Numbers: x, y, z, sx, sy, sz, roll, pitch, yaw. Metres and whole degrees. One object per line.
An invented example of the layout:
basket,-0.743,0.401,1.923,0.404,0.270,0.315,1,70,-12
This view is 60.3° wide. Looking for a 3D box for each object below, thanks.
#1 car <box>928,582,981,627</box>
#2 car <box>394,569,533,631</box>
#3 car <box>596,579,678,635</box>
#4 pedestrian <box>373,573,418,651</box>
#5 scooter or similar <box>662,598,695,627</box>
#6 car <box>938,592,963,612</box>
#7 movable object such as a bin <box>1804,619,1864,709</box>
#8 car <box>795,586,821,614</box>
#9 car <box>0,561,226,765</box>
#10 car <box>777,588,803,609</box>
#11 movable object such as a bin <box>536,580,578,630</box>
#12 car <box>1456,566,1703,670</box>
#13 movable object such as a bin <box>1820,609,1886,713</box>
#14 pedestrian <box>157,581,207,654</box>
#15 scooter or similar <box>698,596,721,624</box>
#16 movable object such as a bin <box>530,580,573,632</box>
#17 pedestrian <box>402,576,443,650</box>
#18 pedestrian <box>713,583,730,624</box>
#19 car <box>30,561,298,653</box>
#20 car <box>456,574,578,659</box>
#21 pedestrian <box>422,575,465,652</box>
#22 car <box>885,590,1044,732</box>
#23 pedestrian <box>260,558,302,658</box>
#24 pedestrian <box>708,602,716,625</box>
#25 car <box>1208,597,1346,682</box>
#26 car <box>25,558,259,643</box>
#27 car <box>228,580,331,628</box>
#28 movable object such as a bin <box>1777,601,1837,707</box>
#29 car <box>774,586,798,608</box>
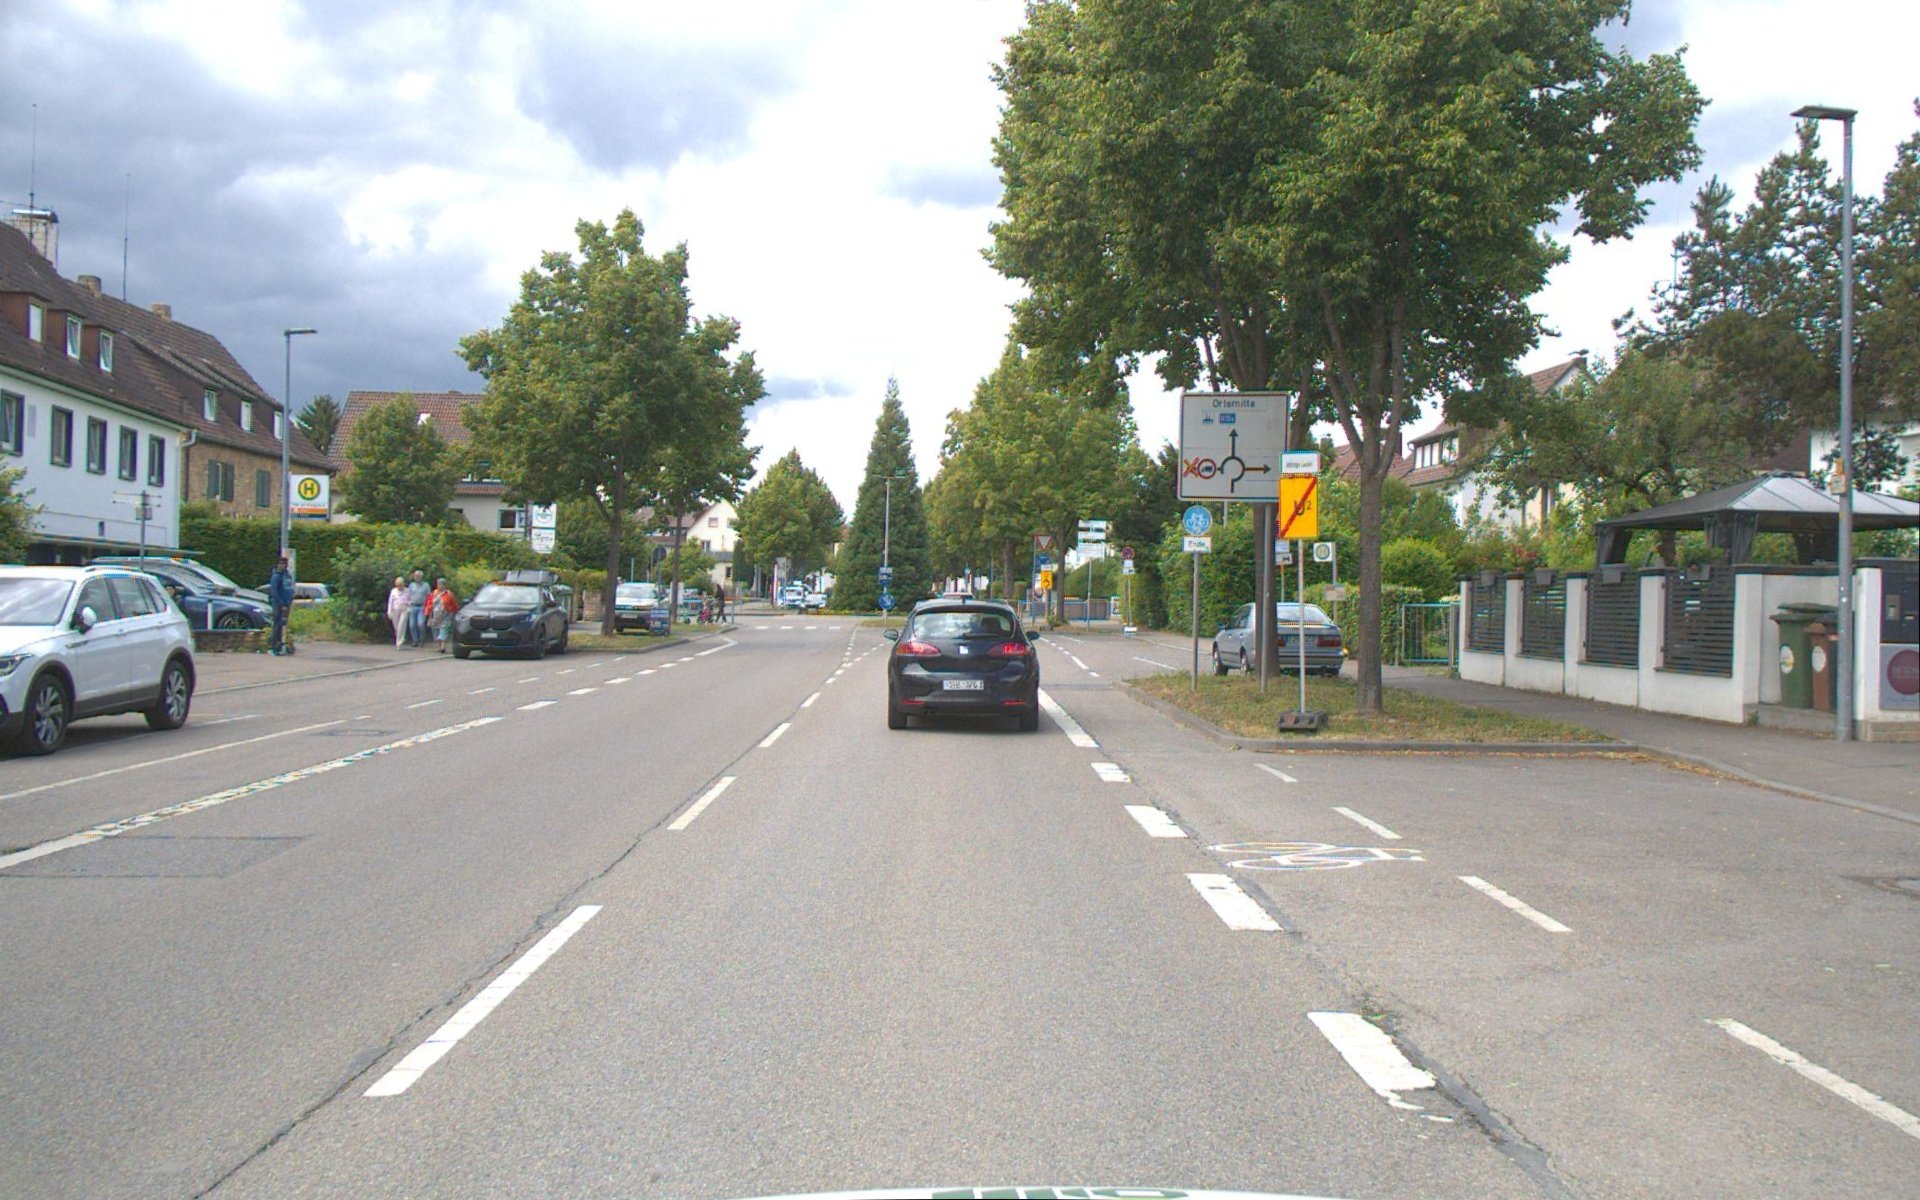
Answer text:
car,-0.226,0.175,64.003,1.953,1.641,3.999,1,0,-1
car,-16.068,0.005,53.675,3.906,1.924,1.999,1,0,-2
car,-10.420,0.210,53.590,1.823,1.682,4.293,1,0,-1
pedestrian,-12.521,0.260,36.689,0.772,1.692,0.880,1,0,-8
scooter or similar,-11.243,0.484,66.037,1.272,1.158,0.343,0,0,-33
car,-0.775,0.156,133.463,1.448,1.515,3.372,1,0,-11
movable object such as a bin,9.245,0.676,17.510,0.427,0.936,0.395,0,0,0
car,-9.380,0.008,102.076,1.537,1.663,3.618,1,0,-4
car,-8.769,0.496,15.728,1.784,1.662,4.583,0,0,-4
car,-13.458,-0.094,130.961,1.761,1.629,3.998,0,0,-2
movable object such as a bin,-14.083,0.182,57.788,1.182,1.680,0.997,3,0,-4
car,11.676,0.331,31.333,3.908,1.855,1.999,1,0,-4
movable object such as a bin,9.141,0.616,16.936,0.427,1.040,0.454,0,0,0
pedestrian,-14.459,0.317,30.739,0.575,1.336,0.706,1,0,0
scooter or similar,-10.480,0.400,69.209,0.404,1.114,0.954,3,-1,-44
movable object such as a bin,-13.859,0.188,56.115,1.182,1.680,0.997,3,0,-4
pedestrian,-12.348,0.292,38.020,0.772,1.692,0.590,1,0,-8
pedestrian,-9.904,0.140,68.651,0.506,1.699,0.480,1,0,40
car,-15.504,0.146,32.509,4.443,1.581,2.026,2,0,-19
car,-9.875,0.344,37.195,1.690,1.755,4.562,1,0,-3
pedestrian,-11.563,0.291,37.073,0.772,1.692,0.753,1,0,-8
car,0.096,0.646,19.729,1.696,1.512,4.001,0,0,1
pedestrian,-12.653,0.145,30.828,0.493,1.837,0.671,1,0,-2
pedestrian,-10.165,0.548,67.701,0.235,0.910,0.257,1,0,-28
car,5.602,0.696,29.698,1.579,1.401,4.386,1,-1,-1
car,-16.948,0.010,34.455,3.912,1.508,1.788,3,0,-8
car,-21.664,0.129,52.732,2.771,1.467,1.297,1,0,-7
movable object such as a bin,9.234,0.581,18.042,0.427,1.129,0.454,0,0,0
car,-15.686,-0.289,149.053,1.990,2.005,3.997,0,0,-4
